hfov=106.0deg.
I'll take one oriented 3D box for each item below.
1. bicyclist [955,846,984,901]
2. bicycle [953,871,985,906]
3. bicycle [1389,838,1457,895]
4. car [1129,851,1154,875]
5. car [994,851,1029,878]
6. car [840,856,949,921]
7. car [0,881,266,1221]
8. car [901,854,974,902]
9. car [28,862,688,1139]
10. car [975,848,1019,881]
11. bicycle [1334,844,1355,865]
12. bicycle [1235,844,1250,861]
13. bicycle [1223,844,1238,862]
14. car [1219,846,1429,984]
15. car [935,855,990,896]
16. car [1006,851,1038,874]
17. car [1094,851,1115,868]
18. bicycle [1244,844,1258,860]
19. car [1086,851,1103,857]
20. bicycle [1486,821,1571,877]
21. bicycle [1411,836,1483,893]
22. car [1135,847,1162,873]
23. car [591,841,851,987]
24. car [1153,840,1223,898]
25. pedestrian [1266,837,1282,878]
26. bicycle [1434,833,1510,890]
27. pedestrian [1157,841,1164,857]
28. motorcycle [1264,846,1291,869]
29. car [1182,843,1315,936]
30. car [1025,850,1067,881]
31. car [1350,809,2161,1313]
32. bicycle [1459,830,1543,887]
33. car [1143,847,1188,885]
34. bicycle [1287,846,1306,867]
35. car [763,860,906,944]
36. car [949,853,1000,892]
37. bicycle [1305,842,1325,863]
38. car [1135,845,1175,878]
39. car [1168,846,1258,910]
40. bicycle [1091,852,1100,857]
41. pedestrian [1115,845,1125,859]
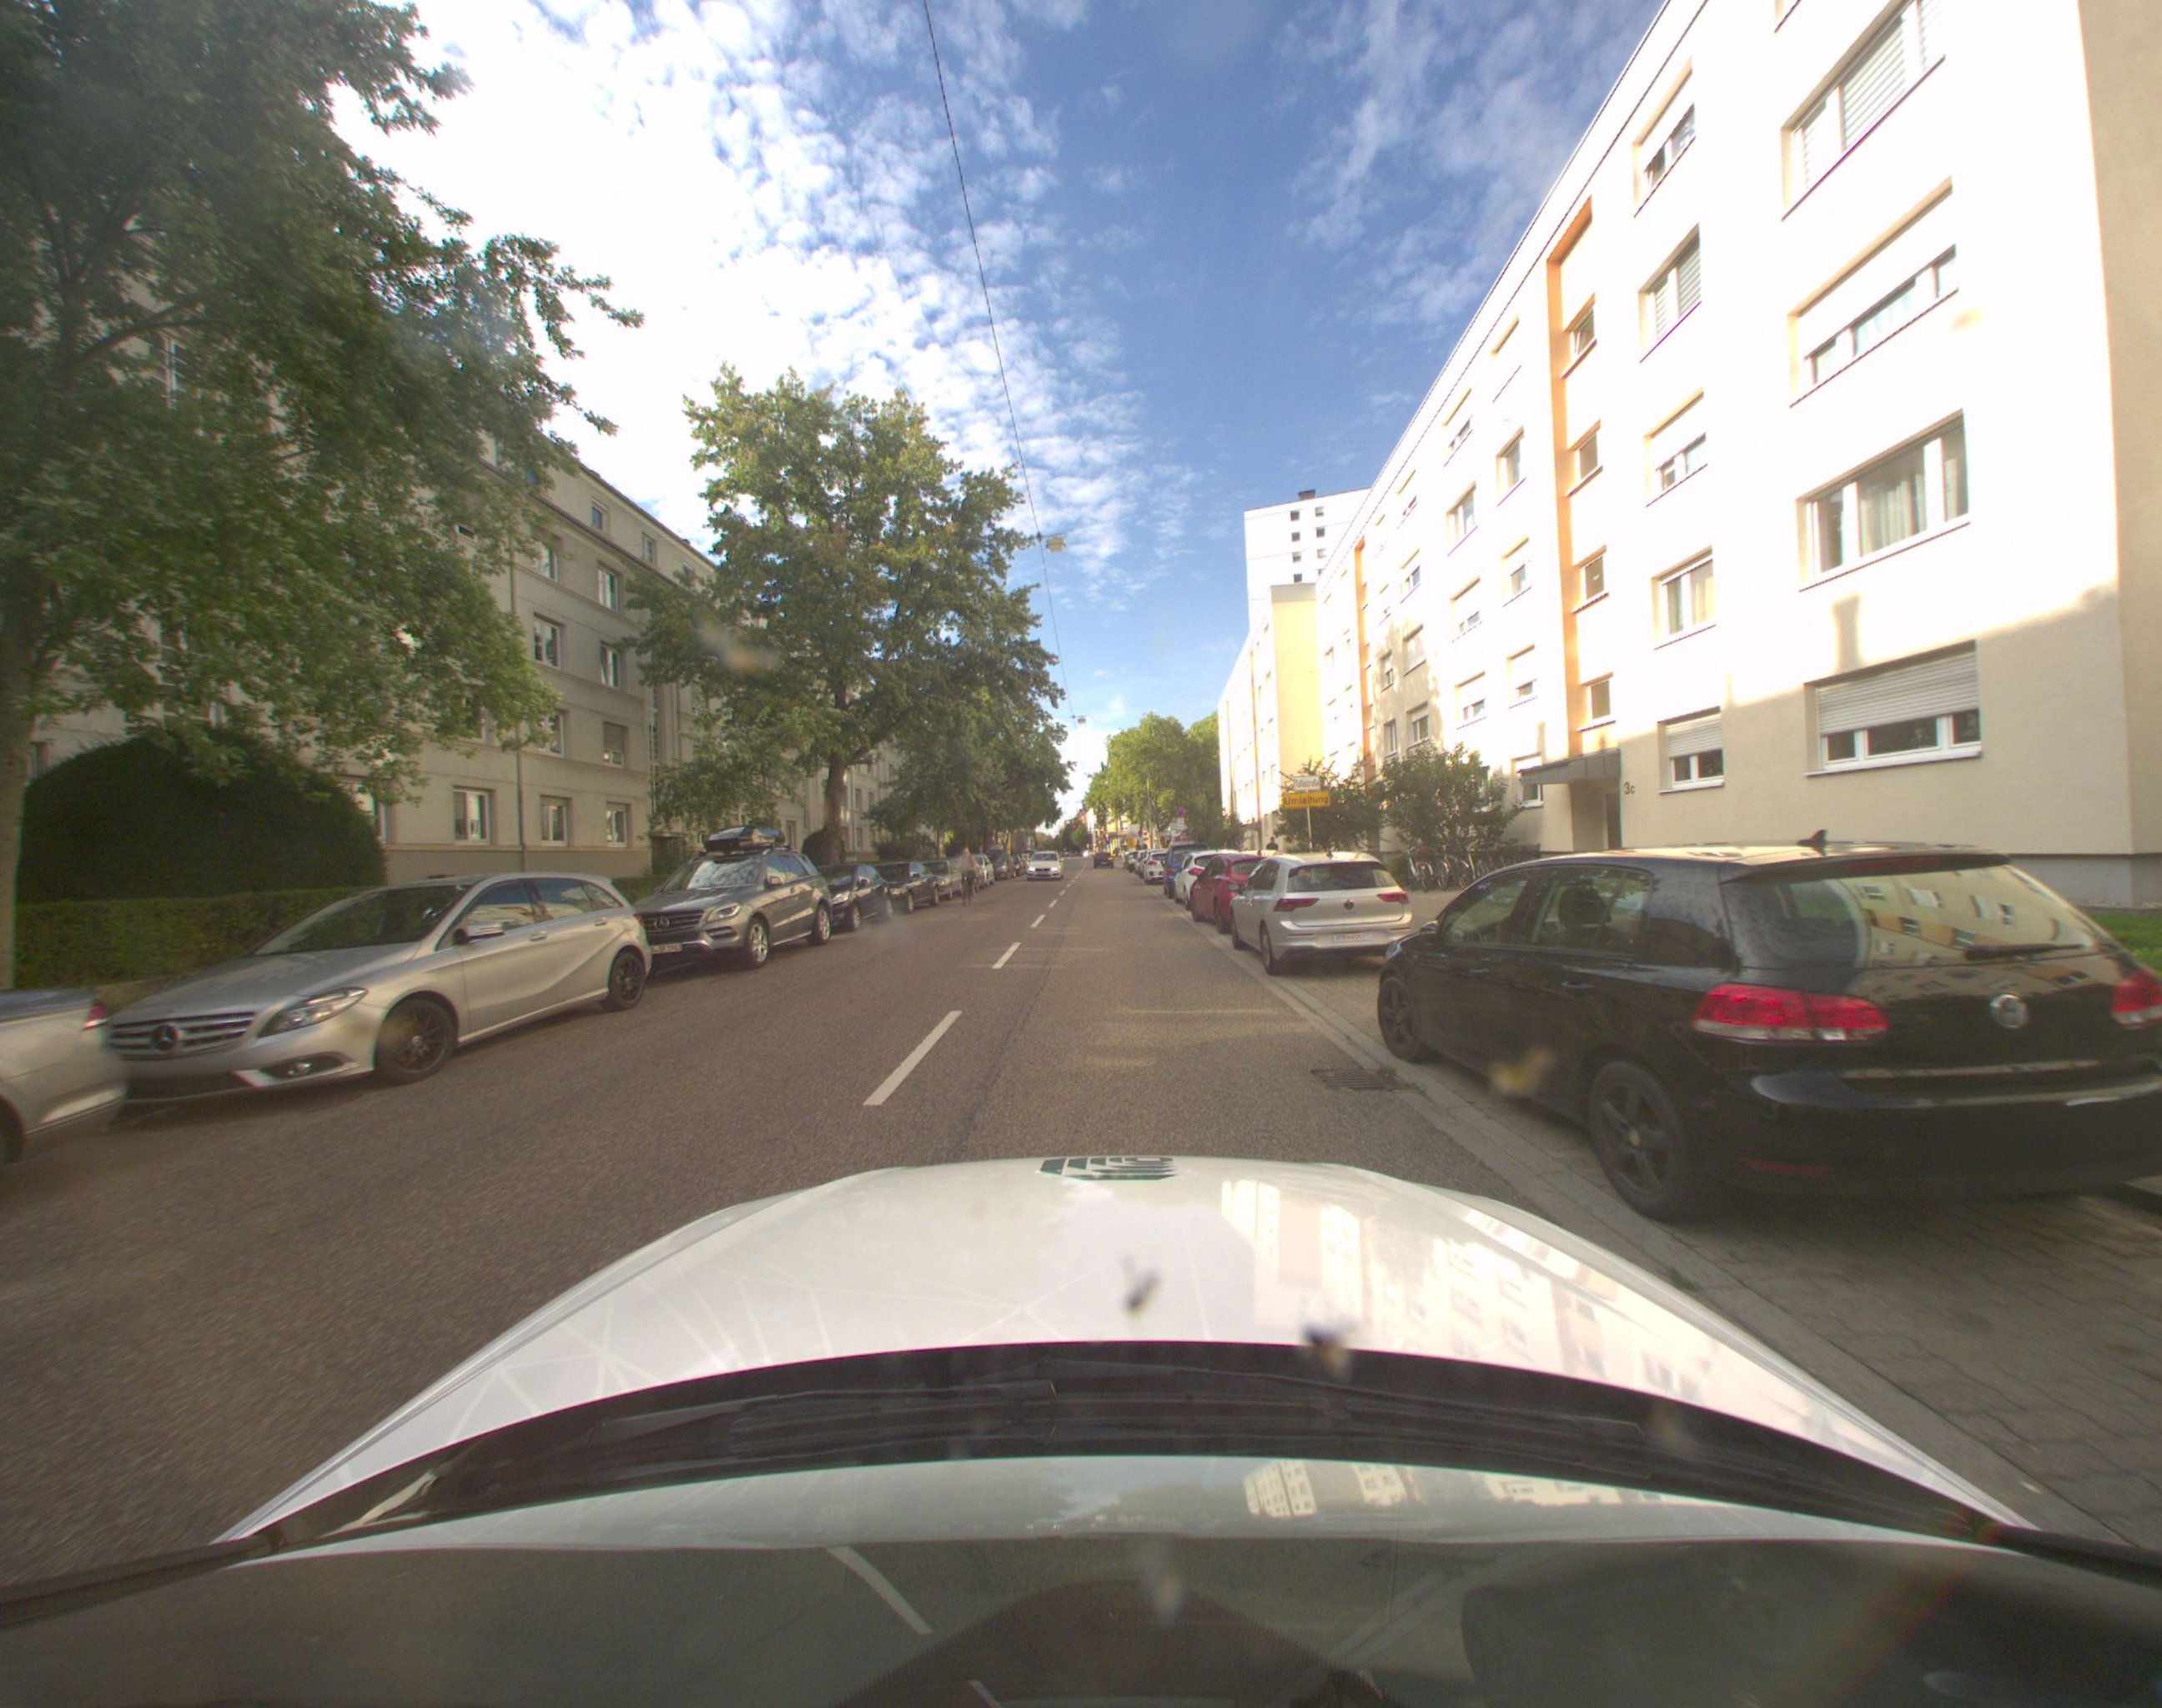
[{"bbox_3d":[-3.312,0.567,24.267,0.639,1.600,0.990,-2,0,1],"label":"bicyclist"},{"bbox_3d":[-3.311,1.001,24.213,0.639,0.923,1.858,-2,0,2],"label":"bicycle"},{"bbox_3d":[8.513,0.285,20.430,0.602,1.291,2.636,-3,0,2],"label":"bicycle"},{"bbox_3d":[4.265,0.601,57.563,1.682,1.528,4.242,-2,0,4],"label":"car"},{"bbox_3d":[-4.513,0.651,53.248,1.693,1.486,3.850,-5,0,2],"label":"car"},{"bbox_3d":[-5.258,0.913,23.543,1.678,1.480,4.457,-6,0,4],"label":"car"},{"bbox_3d":[-5.869,1.010,2.345,1.849,1.486,4.946,-6,0,1],"label":"car"},{"bbox_3d":[-5.066,0.807,29.166,1.594,1.418,3.967,-6,0,3],"label":"car"},{"bbox_3d":[-5.743,0.969,7.476,1.848,1.573,4.462,-4,0,2],"label":"car"},{"bbox_3d":[-4.942,0.589,48.495,1.792,1.668,4.485,-5,0,2],"label":"car"},{"bbox_3d":[12.455,0.016,38.469,0.457,0.927,1.517,-4,0,1],"label":"bicycle"},{"bbox_3d":[11.438,-0.123,57.859,0.595,1.114,2.210,-4,0,2],"label":"bicycle"},{"bbox_3d":[10.626,-0.086,58.053,0.595,1.186,2.210,-6,0,2],"label":"bicycle"},{"bbox_3d":[3.067,0.683,11.178,1.656,1.416,4.060,-4,0,1],"label":"car"},{"bbox_3d":[-4.906,0.846,34.207,1.609,1.468,4.012,-5,0,-1],"label":"car"},{"bbox_3d":[-4.444,0.640,62.173,1.686,1.493,4.338,-4,0,5],"label":"car"},{"bbox_3d":[2.014,0.477,71.229,1.746,1.413,4.000,-2,0,1],"label":"car"},{"bbox_3d":[12.056,-0.160,57.844,0.527,1.115,2.210,-4,0,2],"label":"bicycle"},{"bbox_3d":[3.297,0.001,198.678,3.982,1.420,1.996,-3,0,-6],"label":"car"},{"bbox_3d":[11.173,-0.115,20.479,0.724,1.291,2.636,-2,0,2],"label":"bicycle"},{"bbox_3d":[9.145,0.245,20.456,0.602,1.291,2.636,-4,0,2],"label":"bicycle"},{"bbox_3d":[4.263,0.350,51.801,1.545,1.557,3.470,-2,0,2],"label":"car"},{"bbox_3d":[-5.496,0.786,13.331,1.871,1.793,4.970,-5,0,0],"label":"car"},{"bbox_3d":[3.476,0.456,27.116,1.723,1.649,4.117,-4,0,1],"label":"car"},{"bbox_3d":[8.206,0.158,34.691,0.539,1.721,0.773,-2,0,6],"label":"pedestrian"},{"bbox_3d":[9.747,0.169,20.428,0.593,1.291,2.636,-6,0,2],"label":"bicycle"},{"bbox_3d":[8.125,-0.525,83.061,0.650,1.645,0.743,-2,0,1],"label":"pedestrian"},{"bbox_3d":[9.307,0.152,38.670,0.628,1.044,2.394,-4,0,1],"label":"motorcycle"},{"bbox_3d":[3.210,0.621,16.449,1.723,1.515,4.190,-4,0,0],"label":"car"},{"bbox_3d":[-1.843,0.575,44.009,1.852,1.528,4.013,-3,0,2],"label":"car"},{"bbox_3d":[3.033,0.648,4.570,1.656,1.491,3.941,-4,0,0],"label":"car"},{"bbox_3d":[10.467,0.097,20.422,0.724,1.291,2.636,-4,0,2],"label":"bicycle"},{"bbox_3d":[3.808,0.505,37.432,1.721,1.487,4.645,-4,0,3],"label":"car"},{"bbox_3d":[10.212,0.131,38.558,0.457,0.941,1.517,-4,0,1],"label":"bicycle"},{"bbox_3d":[-5.488,0.995,18.725,1.678,1.480,4.123,-6,0,3],"label":"car"},{"bbox_3d":[-5.067,0.847,39.271,1.733,1.620,3.994,-6,0,0],"label":"car"},{"bbox_3d":[11.005,-0.066,38.358,0.457,0.927,1.517,-4,0,1],"label":"bicycle"},{"bbox_3d":[3.878,0.362,43.273,1.723,1.580,4.117,-4,0,1],"label":"car"},{"bbox_3d":[3.473,0.580,22.094,1.723,1.461,4.117,-4,0,1],"label":"car"},{"bbox_3d":[3.449,0.108,196.275,2.024,1.082,0.617,-3,0,-13],"label":"bicycle"},{"bbox_3d":[5.104,-0.251,106.781,1.076,1.753,0.914,-2,0,-15],"label":"pedestrian"}]
